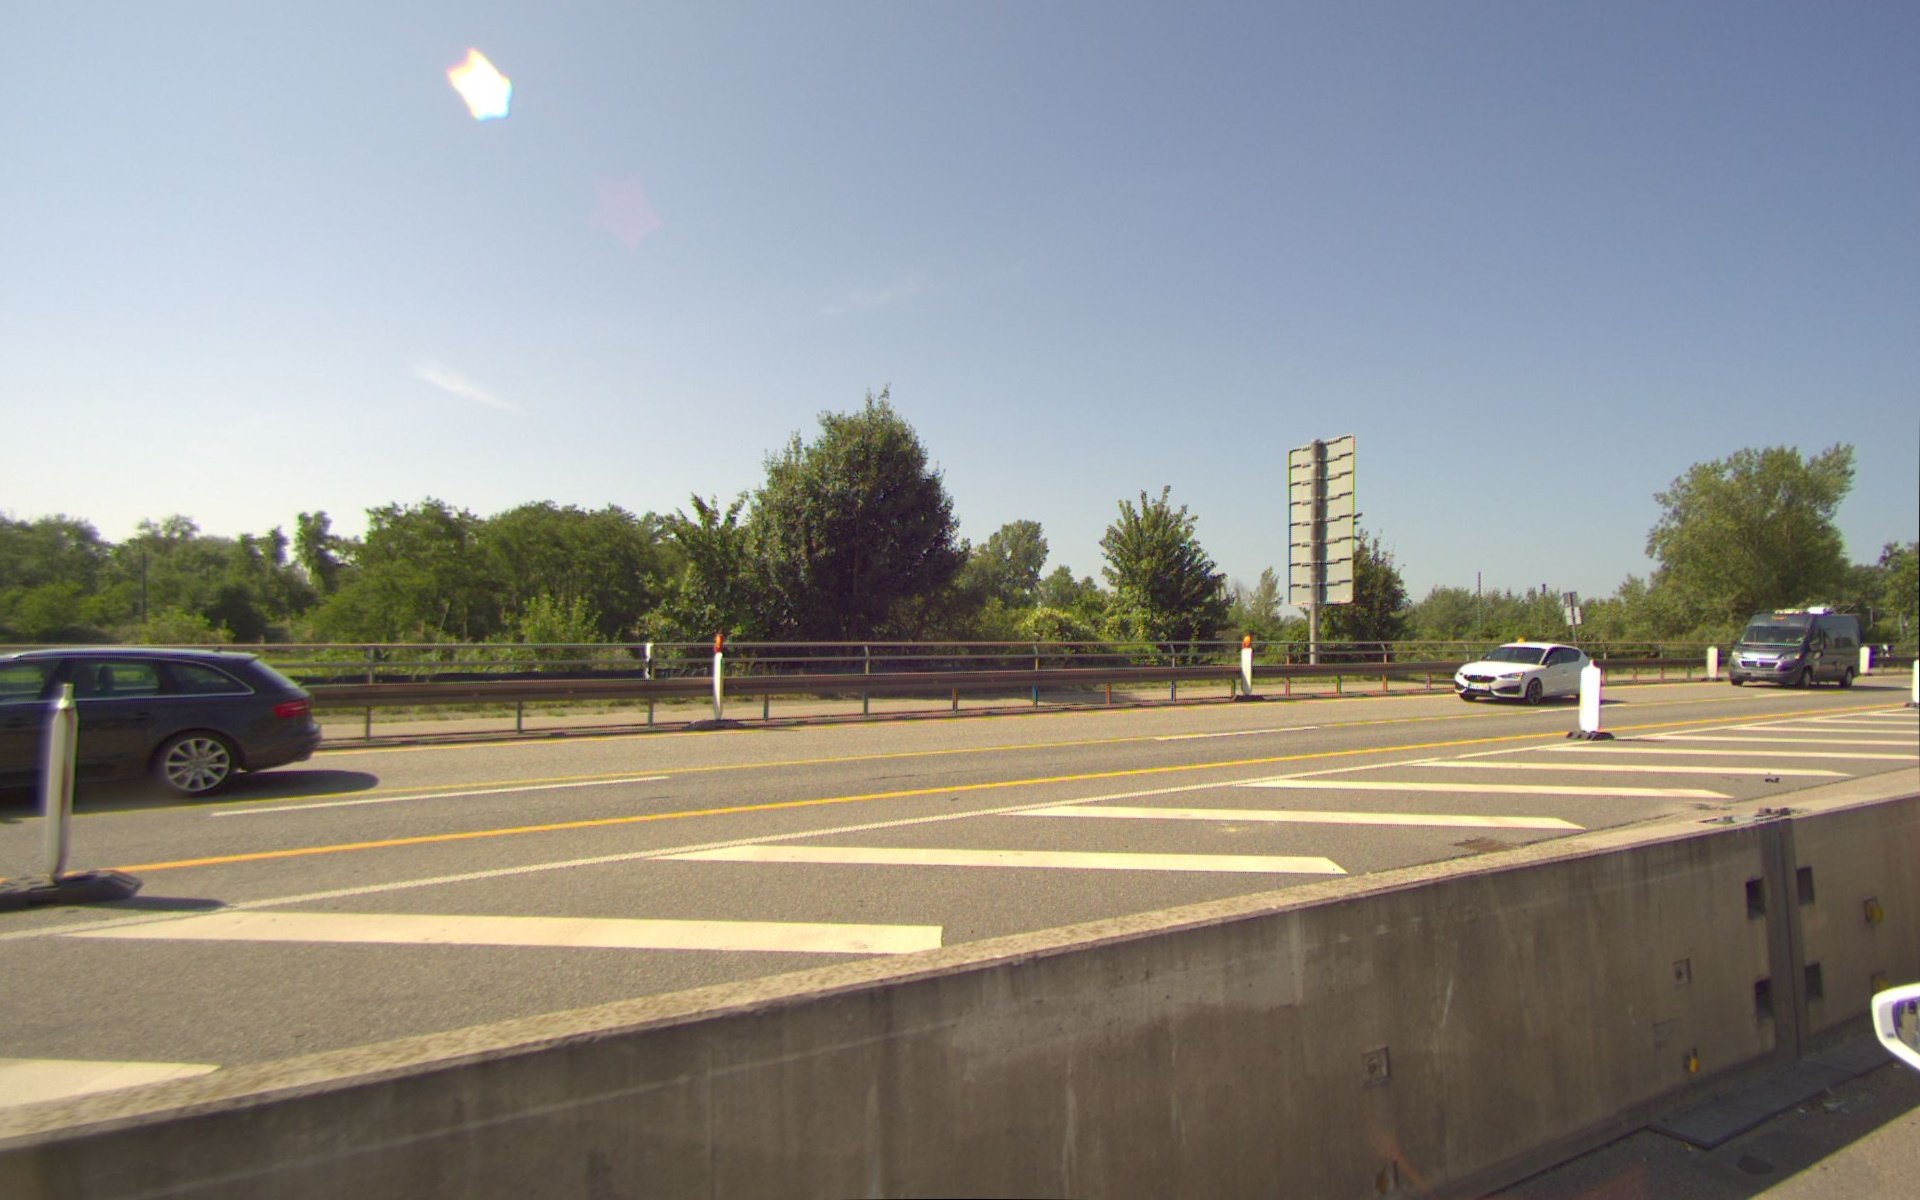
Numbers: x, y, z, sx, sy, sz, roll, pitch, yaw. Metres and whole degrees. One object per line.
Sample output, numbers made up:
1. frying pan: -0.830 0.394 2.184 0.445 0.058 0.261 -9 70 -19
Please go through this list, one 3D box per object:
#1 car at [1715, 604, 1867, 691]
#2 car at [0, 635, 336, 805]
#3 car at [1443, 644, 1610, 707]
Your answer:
1. car: 27.910 1.570 33.699 5.480 2.695 2.136 1 -2 -30
2. car: -8.752 1.092 9.684 4.597 1.495 1.727 1 -3 -34
3. car: 14.195 1.828 25.089 4.469 1.415 1.710 1 -1 -32
